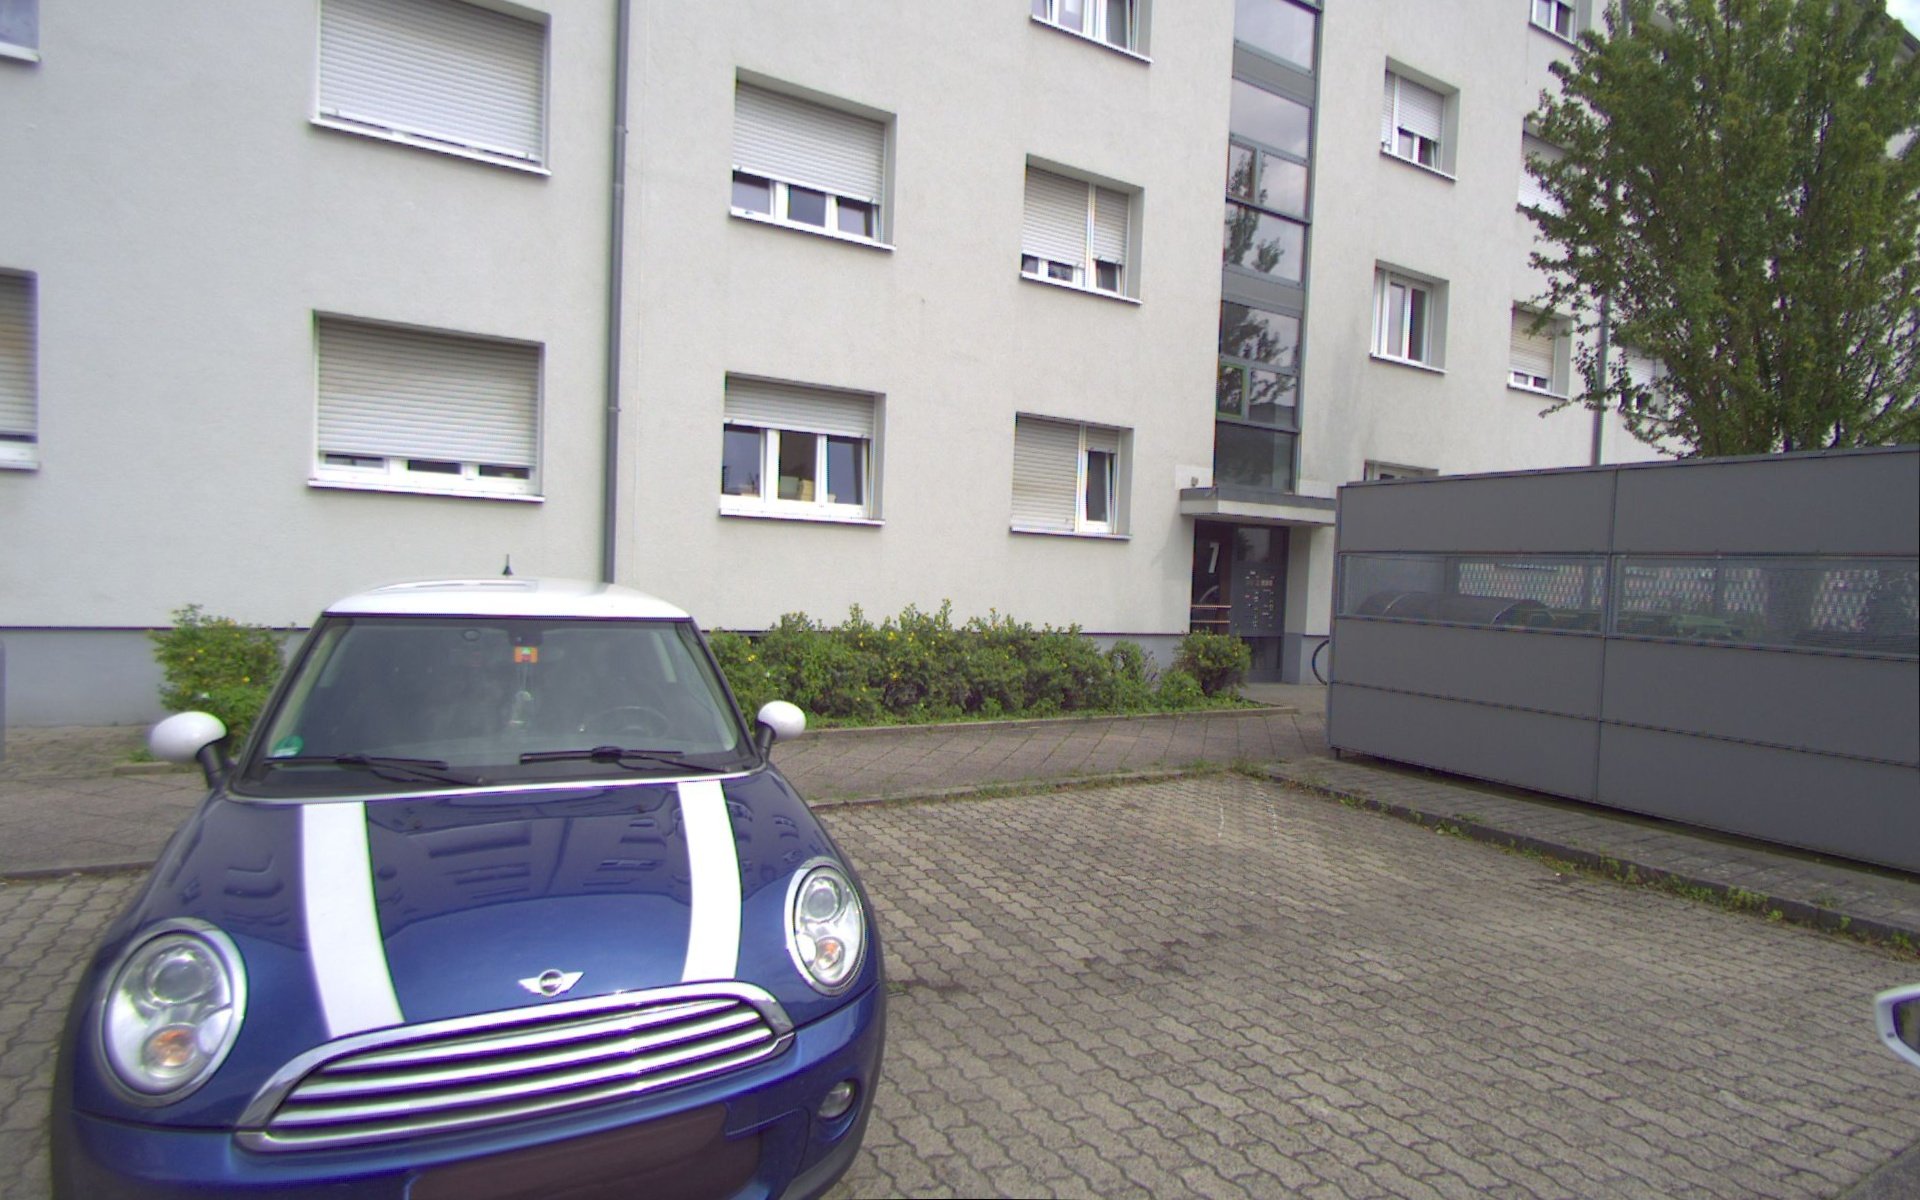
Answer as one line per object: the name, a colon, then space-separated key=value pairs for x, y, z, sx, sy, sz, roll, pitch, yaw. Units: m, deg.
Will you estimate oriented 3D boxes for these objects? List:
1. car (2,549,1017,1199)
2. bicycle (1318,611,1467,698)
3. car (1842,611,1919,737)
car: x=-1.418 y=0.612 z=3.427 sx=1.631 sy=1.481 sz=3.622 roll=1 pitch=2 yaw=-26
bicycle: x=5.803 y=0.712 z=13.563 sx=1.775 sy=1.040 sz=0.479 roll=3 pitch=2 yaw=20
car: x=12.878 y=0.946 z=11.726 sx=1.693 sy=1.500 sz=3.540 roll=1 pitch=1 yaw=-34
